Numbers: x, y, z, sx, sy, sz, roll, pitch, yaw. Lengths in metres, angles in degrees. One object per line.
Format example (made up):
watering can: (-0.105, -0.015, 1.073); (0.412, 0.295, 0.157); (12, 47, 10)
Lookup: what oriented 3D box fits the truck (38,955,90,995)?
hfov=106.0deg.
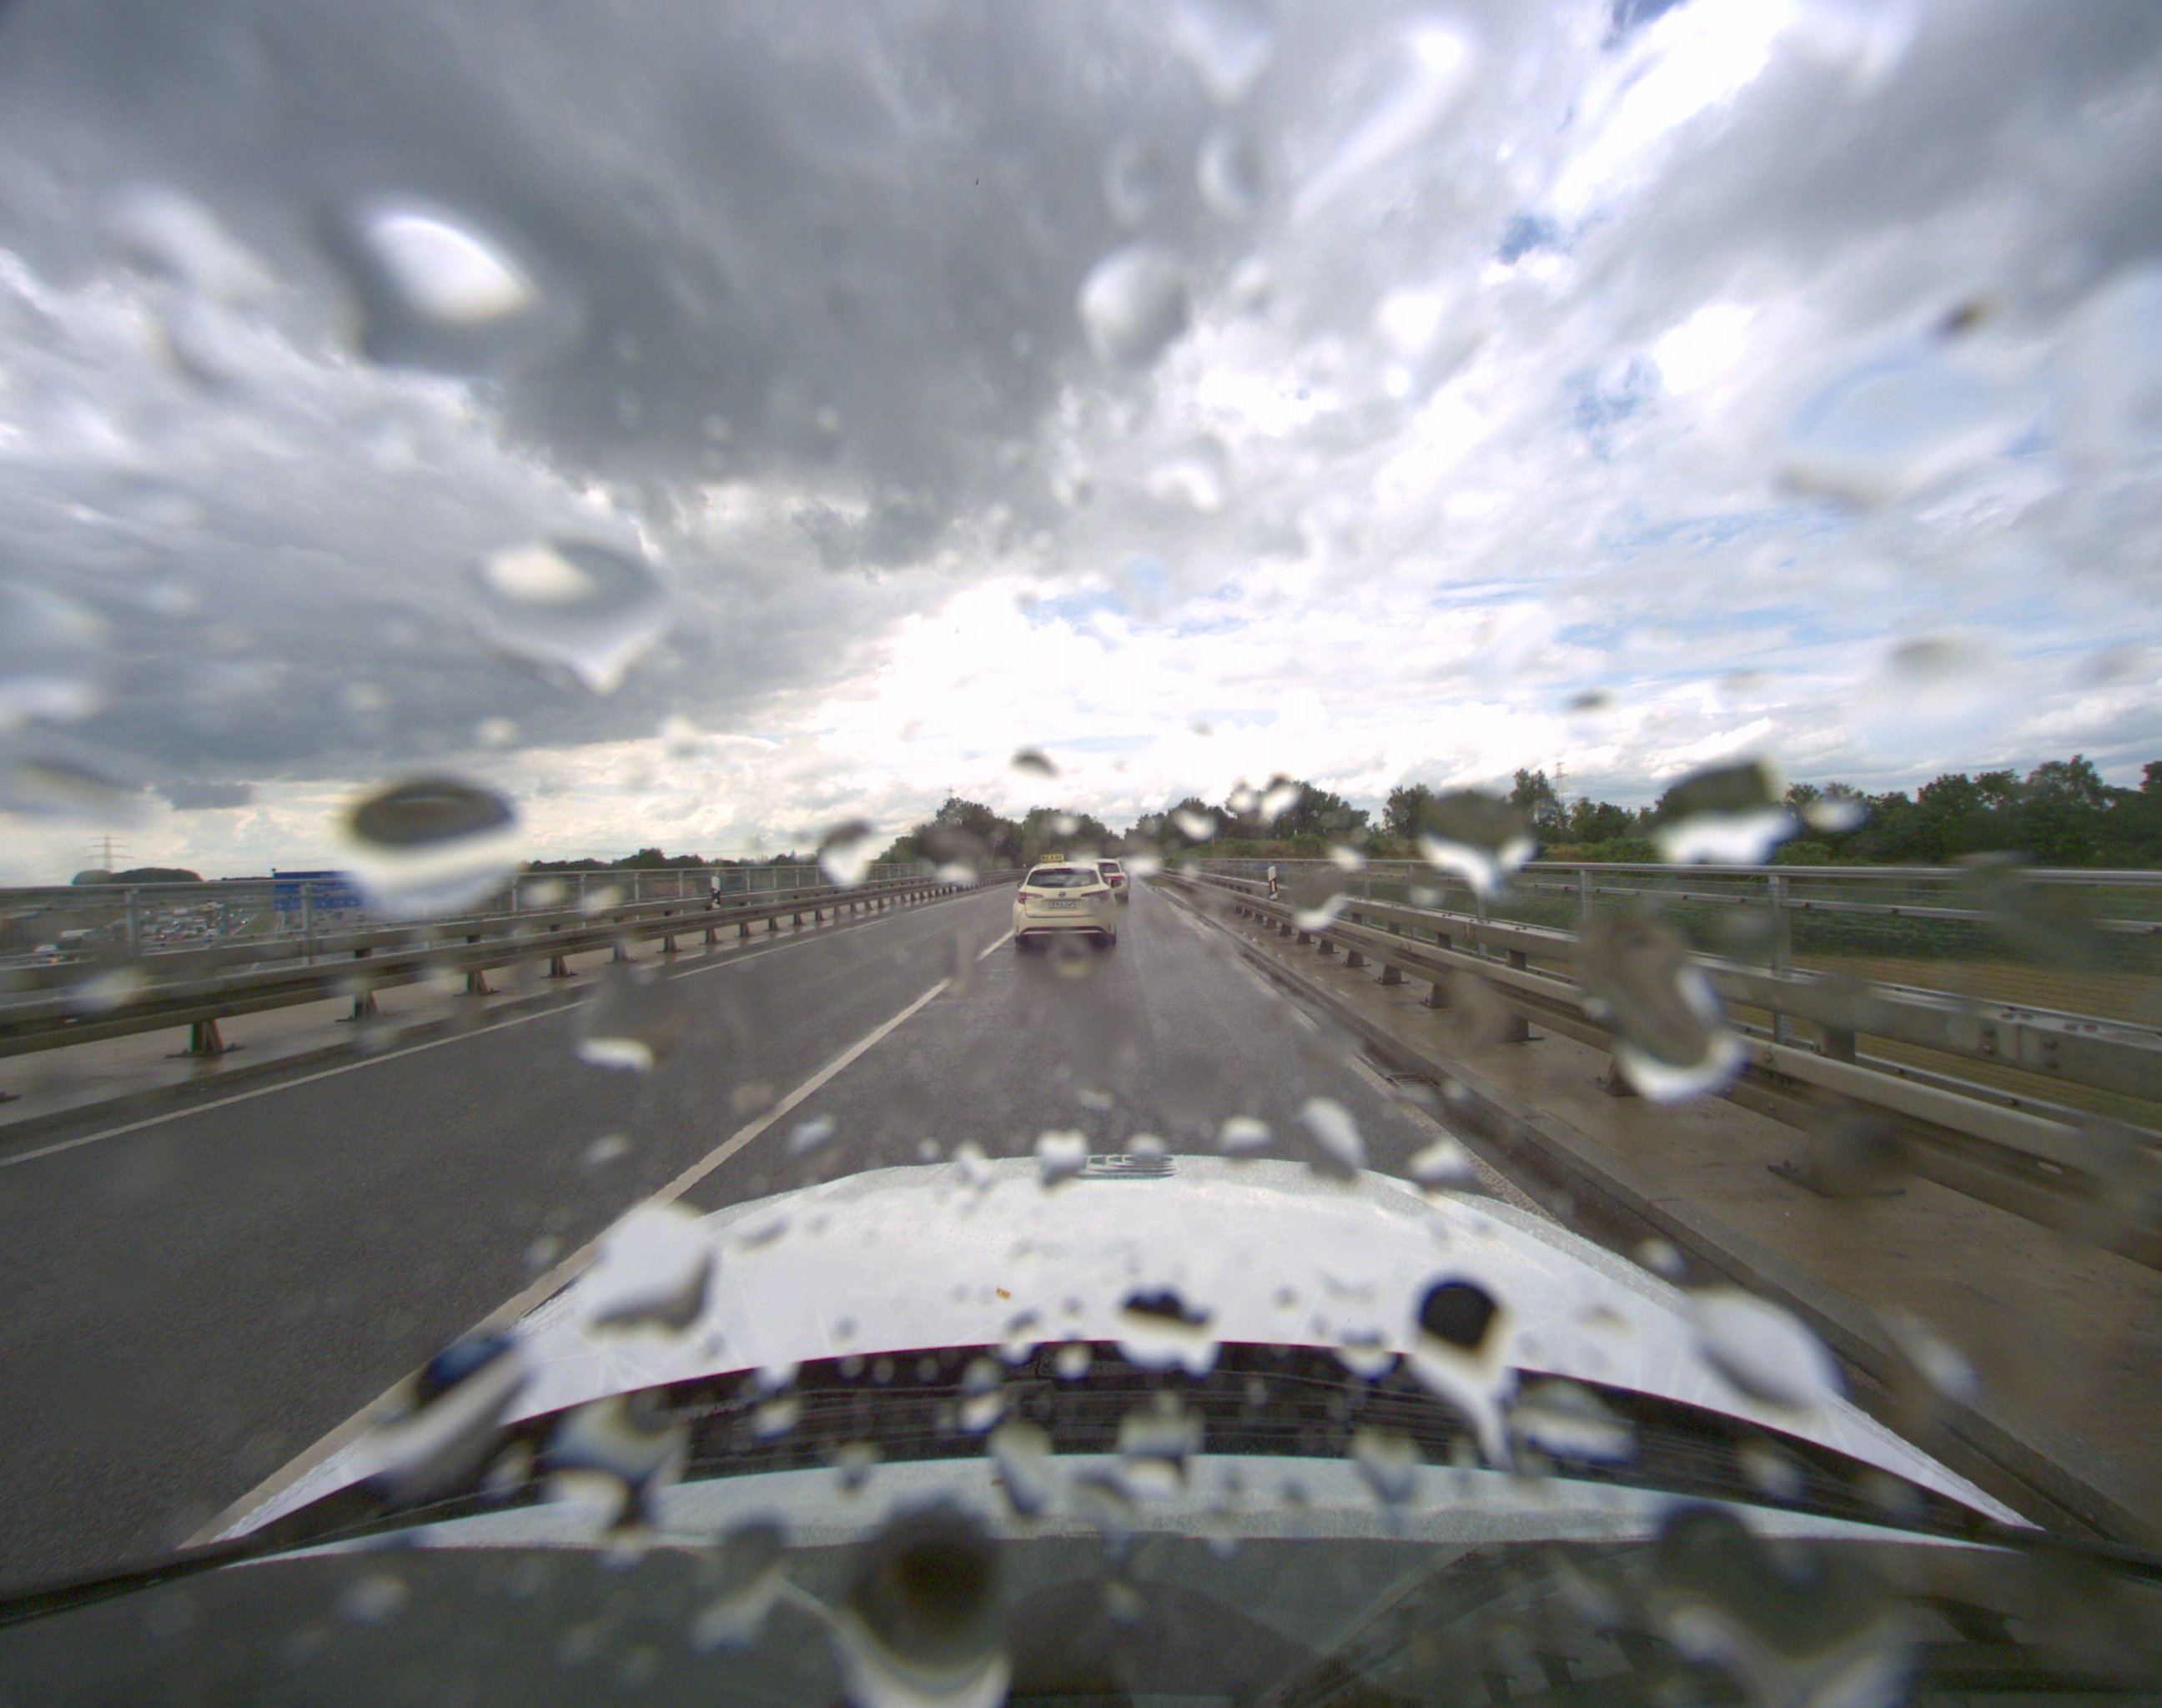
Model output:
truck: (-132.444, 15.685, 106.160); (2.450, 3.762, 11.035); (0, -1, -42)

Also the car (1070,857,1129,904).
car: (0.672, 0.829, 27.574); (1.847, 1.443, 4.173); (0, 0, 2)

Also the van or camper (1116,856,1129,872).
van or camper: (7.595, 1.776, 150.408); (2.323, 2.864, 6.310); (0, 0, 2)

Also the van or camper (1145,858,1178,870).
van or camper: (14.964, 1.841, 151.132); (5.683, 2.241, 2.011); (0, 0, -12)

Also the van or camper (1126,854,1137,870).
van or camper: (11.052, 1.731, 179.012); (2.323, 3.562, 6.310); (0, 0, 2)

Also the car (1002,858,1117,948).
car: (-0.257, 0.802, 15.214); (1.847, 1.394, 4.173); (0, 0, 2)

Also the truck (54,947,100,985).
truck: (-145.665, 16.189, 118.222); (2.450, 4.194, 11.035); (0, -1, -42)

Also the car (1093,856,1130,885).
car: (1.625, 0.859, 43.337); (1.847, 1.443, 4.173); (0, 0, 2)
